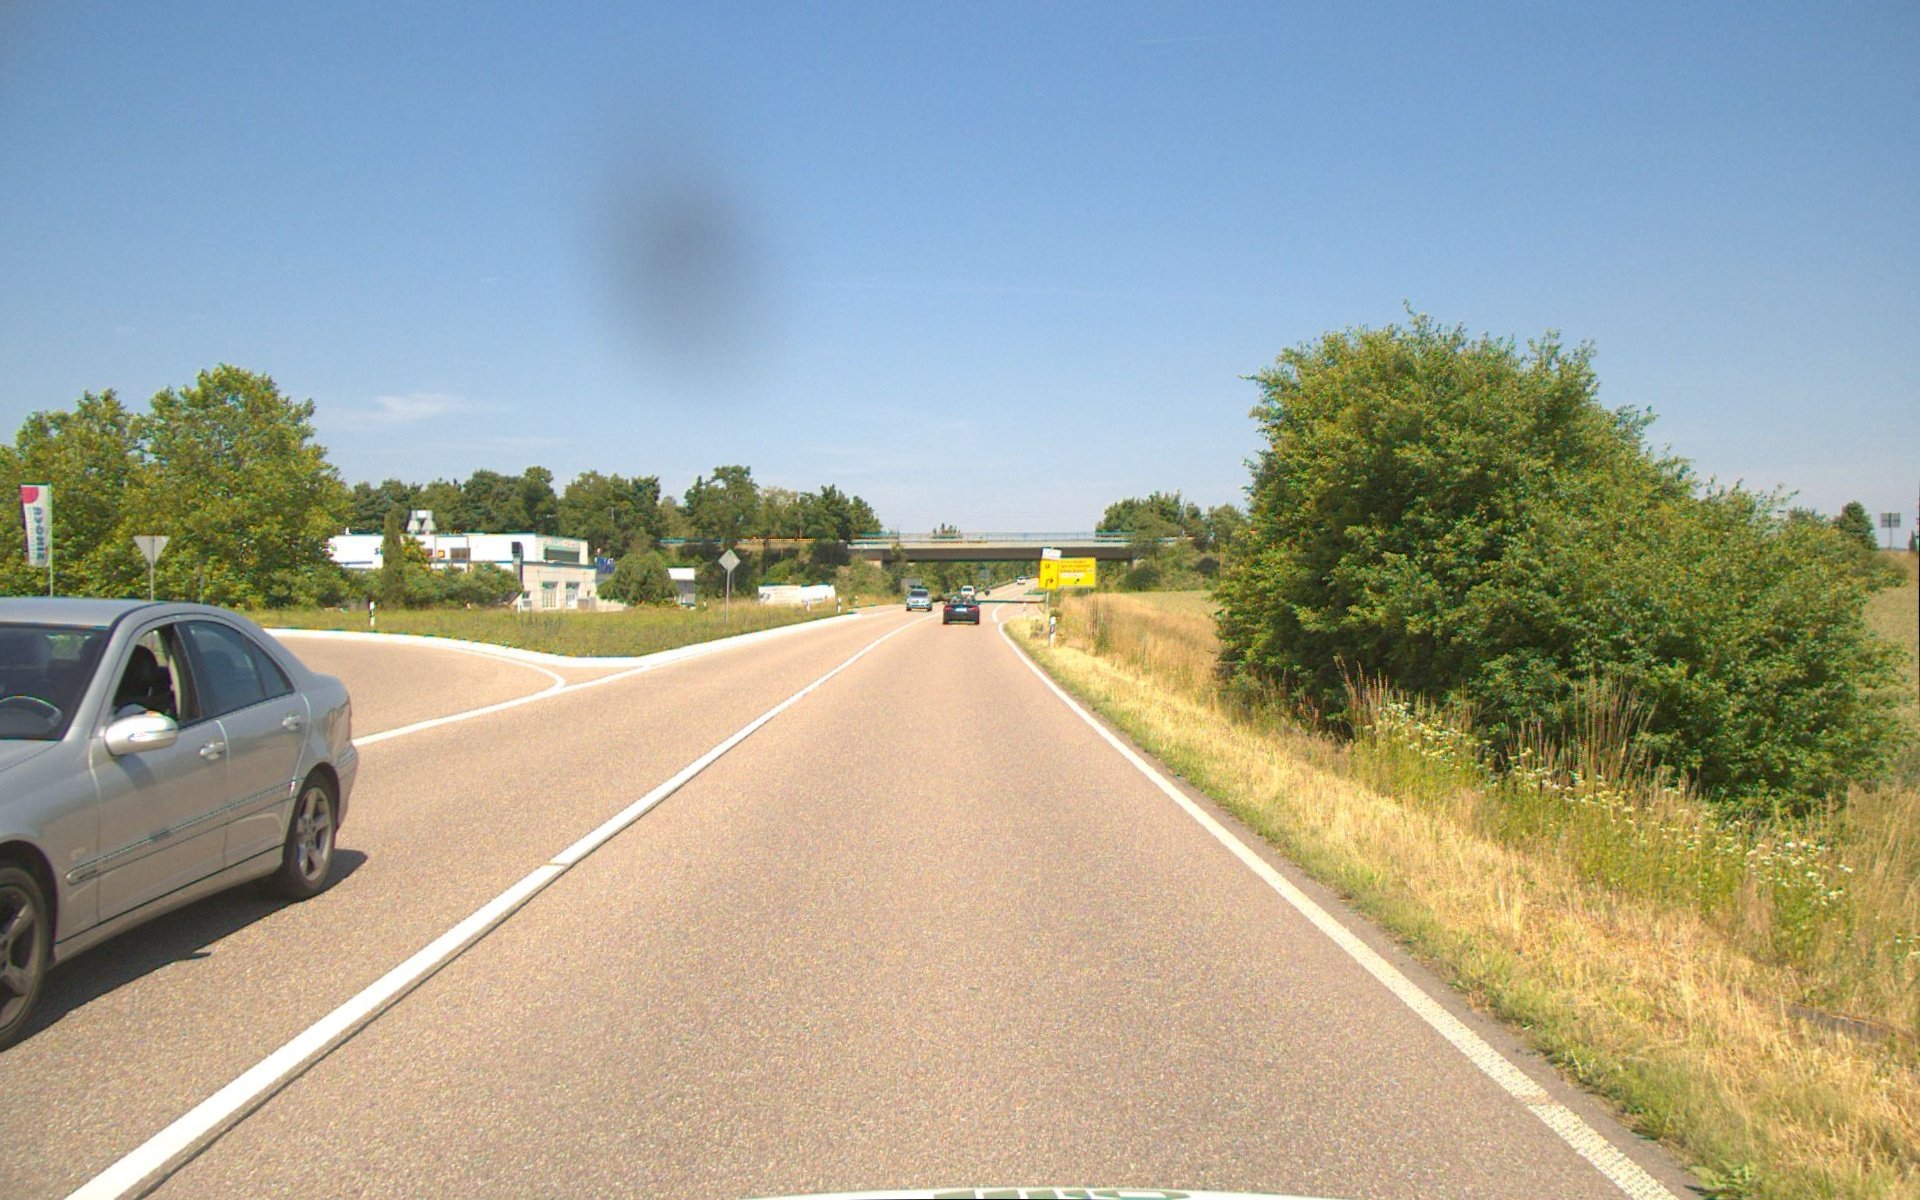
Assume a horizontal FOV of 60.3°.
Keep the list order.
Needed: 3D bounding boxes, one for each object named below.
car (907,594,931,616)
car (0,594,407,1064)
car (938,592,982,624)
[{"bbox_3d":[-3.093,0.354,124.214,1.794,1.595,3.332,0,0,-2],"label":"car"},{"bbox_3d":[-3.815,0.697,6.713,1.696,1.415,4.490,1,0,-1],"label":"car"},{"bbox_3d":[-0.038,0.354,77.990,1.778,1.466,3.997,1,0,-4],"label":"car"}]
